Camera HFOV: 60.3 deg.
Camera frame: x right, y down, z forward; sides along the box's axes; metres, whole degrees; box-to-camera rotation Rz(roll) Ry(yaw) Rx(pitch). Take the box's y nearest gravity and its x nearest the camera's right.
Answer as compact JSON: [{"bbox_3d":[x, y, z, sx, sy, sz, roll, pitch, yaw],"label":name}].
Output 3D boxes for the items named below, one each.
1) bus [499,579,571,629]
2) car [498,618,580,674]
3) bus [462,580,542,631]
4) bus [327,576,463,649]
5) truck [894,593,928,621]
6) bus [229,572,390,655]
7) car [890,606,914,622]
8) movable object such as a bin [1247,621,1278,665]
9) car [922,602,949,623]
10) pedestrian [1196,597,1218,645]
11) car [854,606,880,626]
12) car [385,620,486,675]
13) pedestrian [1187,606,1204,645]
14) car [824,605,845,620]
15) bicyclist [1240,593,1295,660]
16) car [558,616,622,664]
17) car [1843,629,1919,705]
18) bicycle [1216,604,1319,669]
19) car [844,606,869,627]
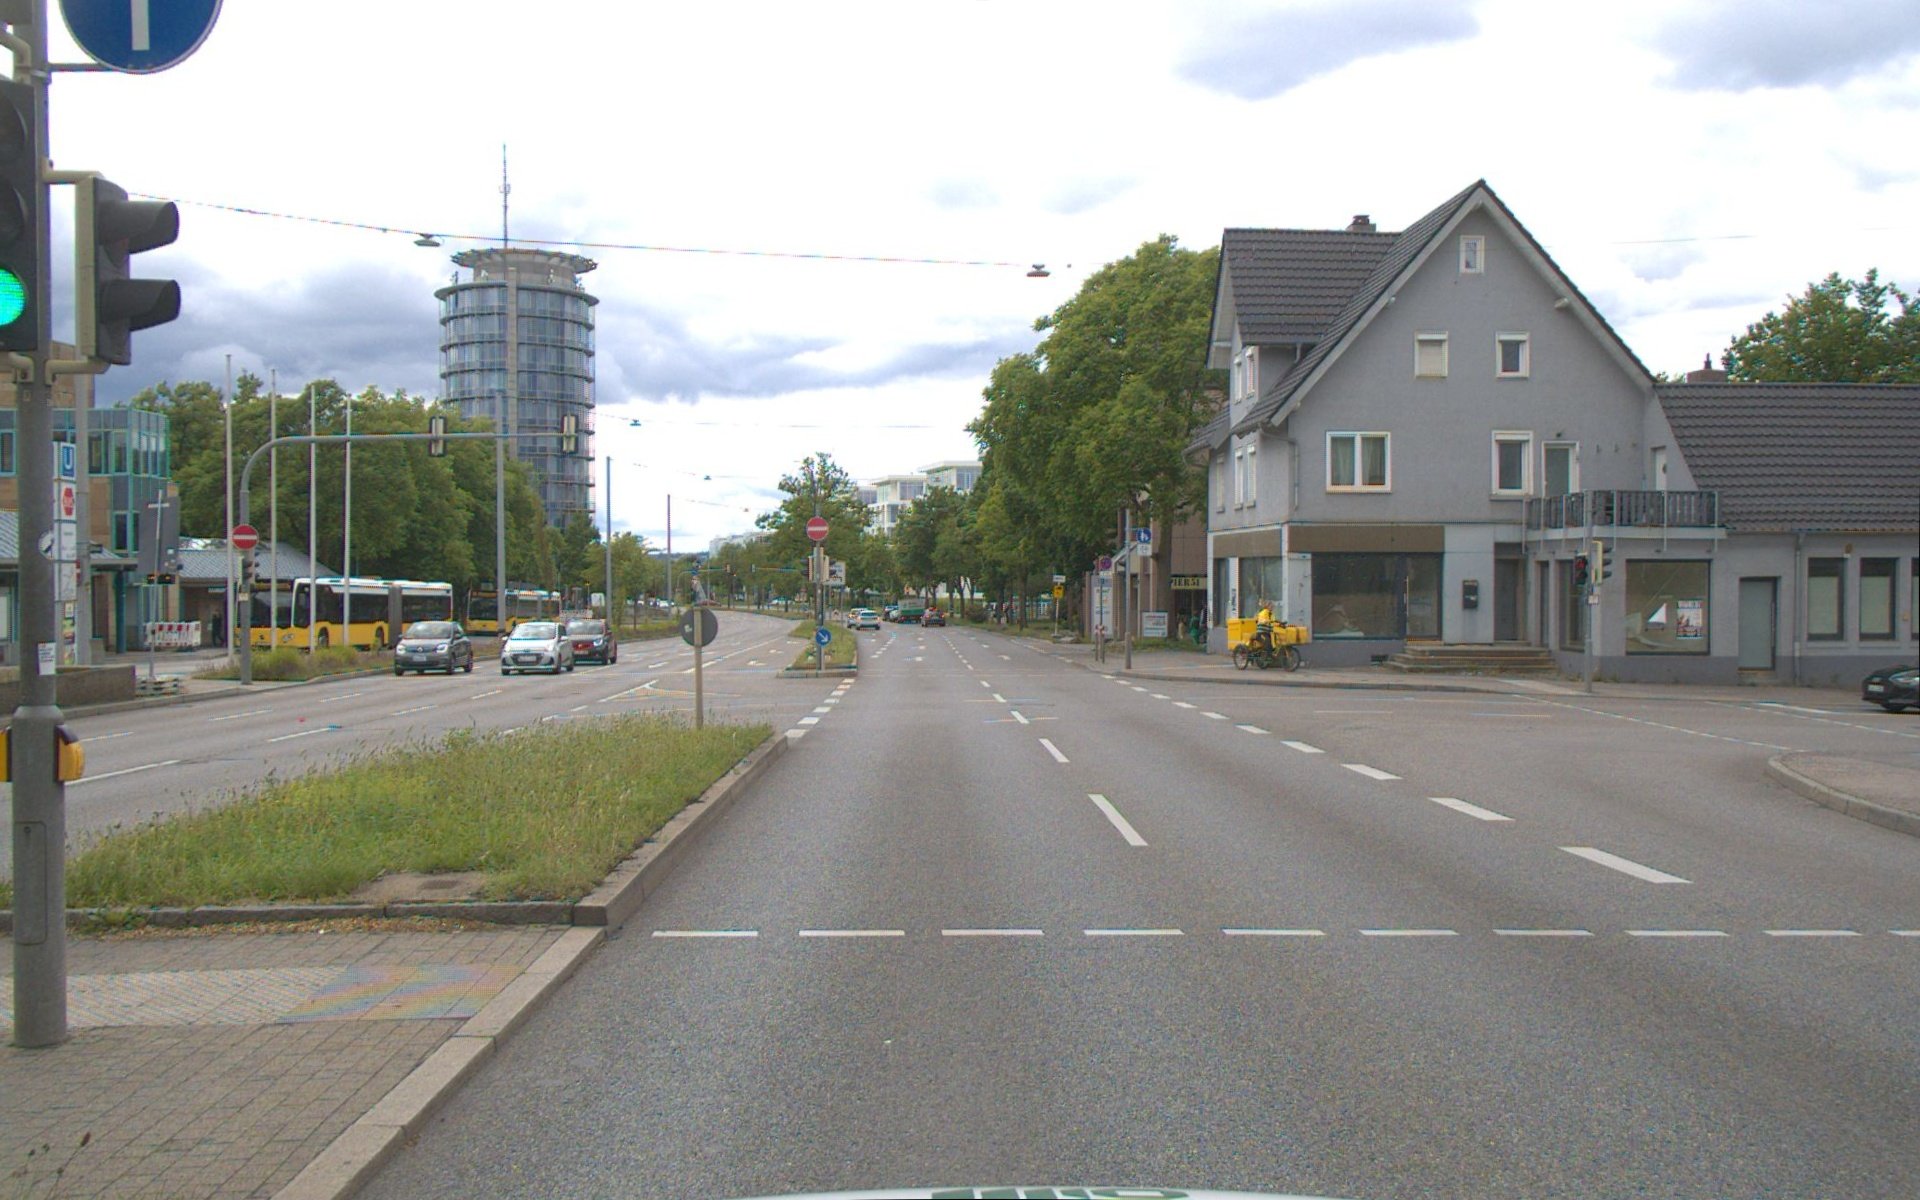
[{"bbox_3d":[-31.333,0.328,122.362,2.970,3.516,9.907,1,0,-2],"label":"bus"},{"bbox_3d":[-12.325,1.328,48.603,1.711,1.491,3.786,0,1,-4],"label":"car"},{"bbox_3d":[-30.868,0.356,111.985,3.022,3.218,10.728,1,0,-4],"label":"bus"},{"bbox_3d":[-26.640,0.582,78.536,2.750,3.187,9.303,2,0,3],"label":"bus"},{"bbox_3d":[-4.642,0.664,155.255,2.804,2.563,6.279,-1,-1,-6],"label":"truck"},{"bbox_3d":[-27.012,0.525,69.261,2.718,3.187,9.440,1,0,2],"label":"bus"},{"bbox_3d":[-5.726,1.362,162.586,1.957,1.534,3.992,-1,0,-9],"label":"car"},{"bbox_3d":[7.719,1.092,42.220,0.613,1.123,0.709,0,0,-2],"label":"movable object such as a bin"},{"bbox_3d":[-2.006,0.996,134.831,1.954,1.624,3.996,-1,0,-5],"label":"car"},{"bbox_3d":[9.720,0.812,65.114,0.644,1.858,0.842,-2,-1,-2],"label":"pedestrian"},{"bbox_3d":[-7.174,1.244,127.824,1.827,1.474,3.995,-1,-1,-6],"label":"car"},{"bbox_3d":[-15.473,1.381,48.981,1.778,1.534,3.999,-1,-1,-1],"label":"car"},{"bbox_3d":[9.528,1.023,66.996,0.550,1.577,0.544,-2,-1,-2],"label":"pedestrian"},{"bbox_3d":[-12.955,1.295,170.648,1.953,1.534,3.999,-1,-1,-1],"label":"car"},{"bbox_3d":[7.534,0.649,40.581,0.948,1.627,0.930,0,-1,-26],"label":"bicyclist"},{"bbox_3d":[-12.560,1.333,56.266,1.626,1.534,3.764,-1,-1,-5],"label":"car"},{"bbox_3d":[20.221,1.342,32.979,4.255,1.446,1.907,1,-1,-3],"label":"car"},{"bbox_3d":[7.524,0.893,40.613,0.951,1.535,2.655,0,-1,-32],"label":"bicycle"},{"bbox_3d":[-8.667,1.381,138.109,1.955,1.701,3.995,-1,-1,-6],"label":"car"}]
